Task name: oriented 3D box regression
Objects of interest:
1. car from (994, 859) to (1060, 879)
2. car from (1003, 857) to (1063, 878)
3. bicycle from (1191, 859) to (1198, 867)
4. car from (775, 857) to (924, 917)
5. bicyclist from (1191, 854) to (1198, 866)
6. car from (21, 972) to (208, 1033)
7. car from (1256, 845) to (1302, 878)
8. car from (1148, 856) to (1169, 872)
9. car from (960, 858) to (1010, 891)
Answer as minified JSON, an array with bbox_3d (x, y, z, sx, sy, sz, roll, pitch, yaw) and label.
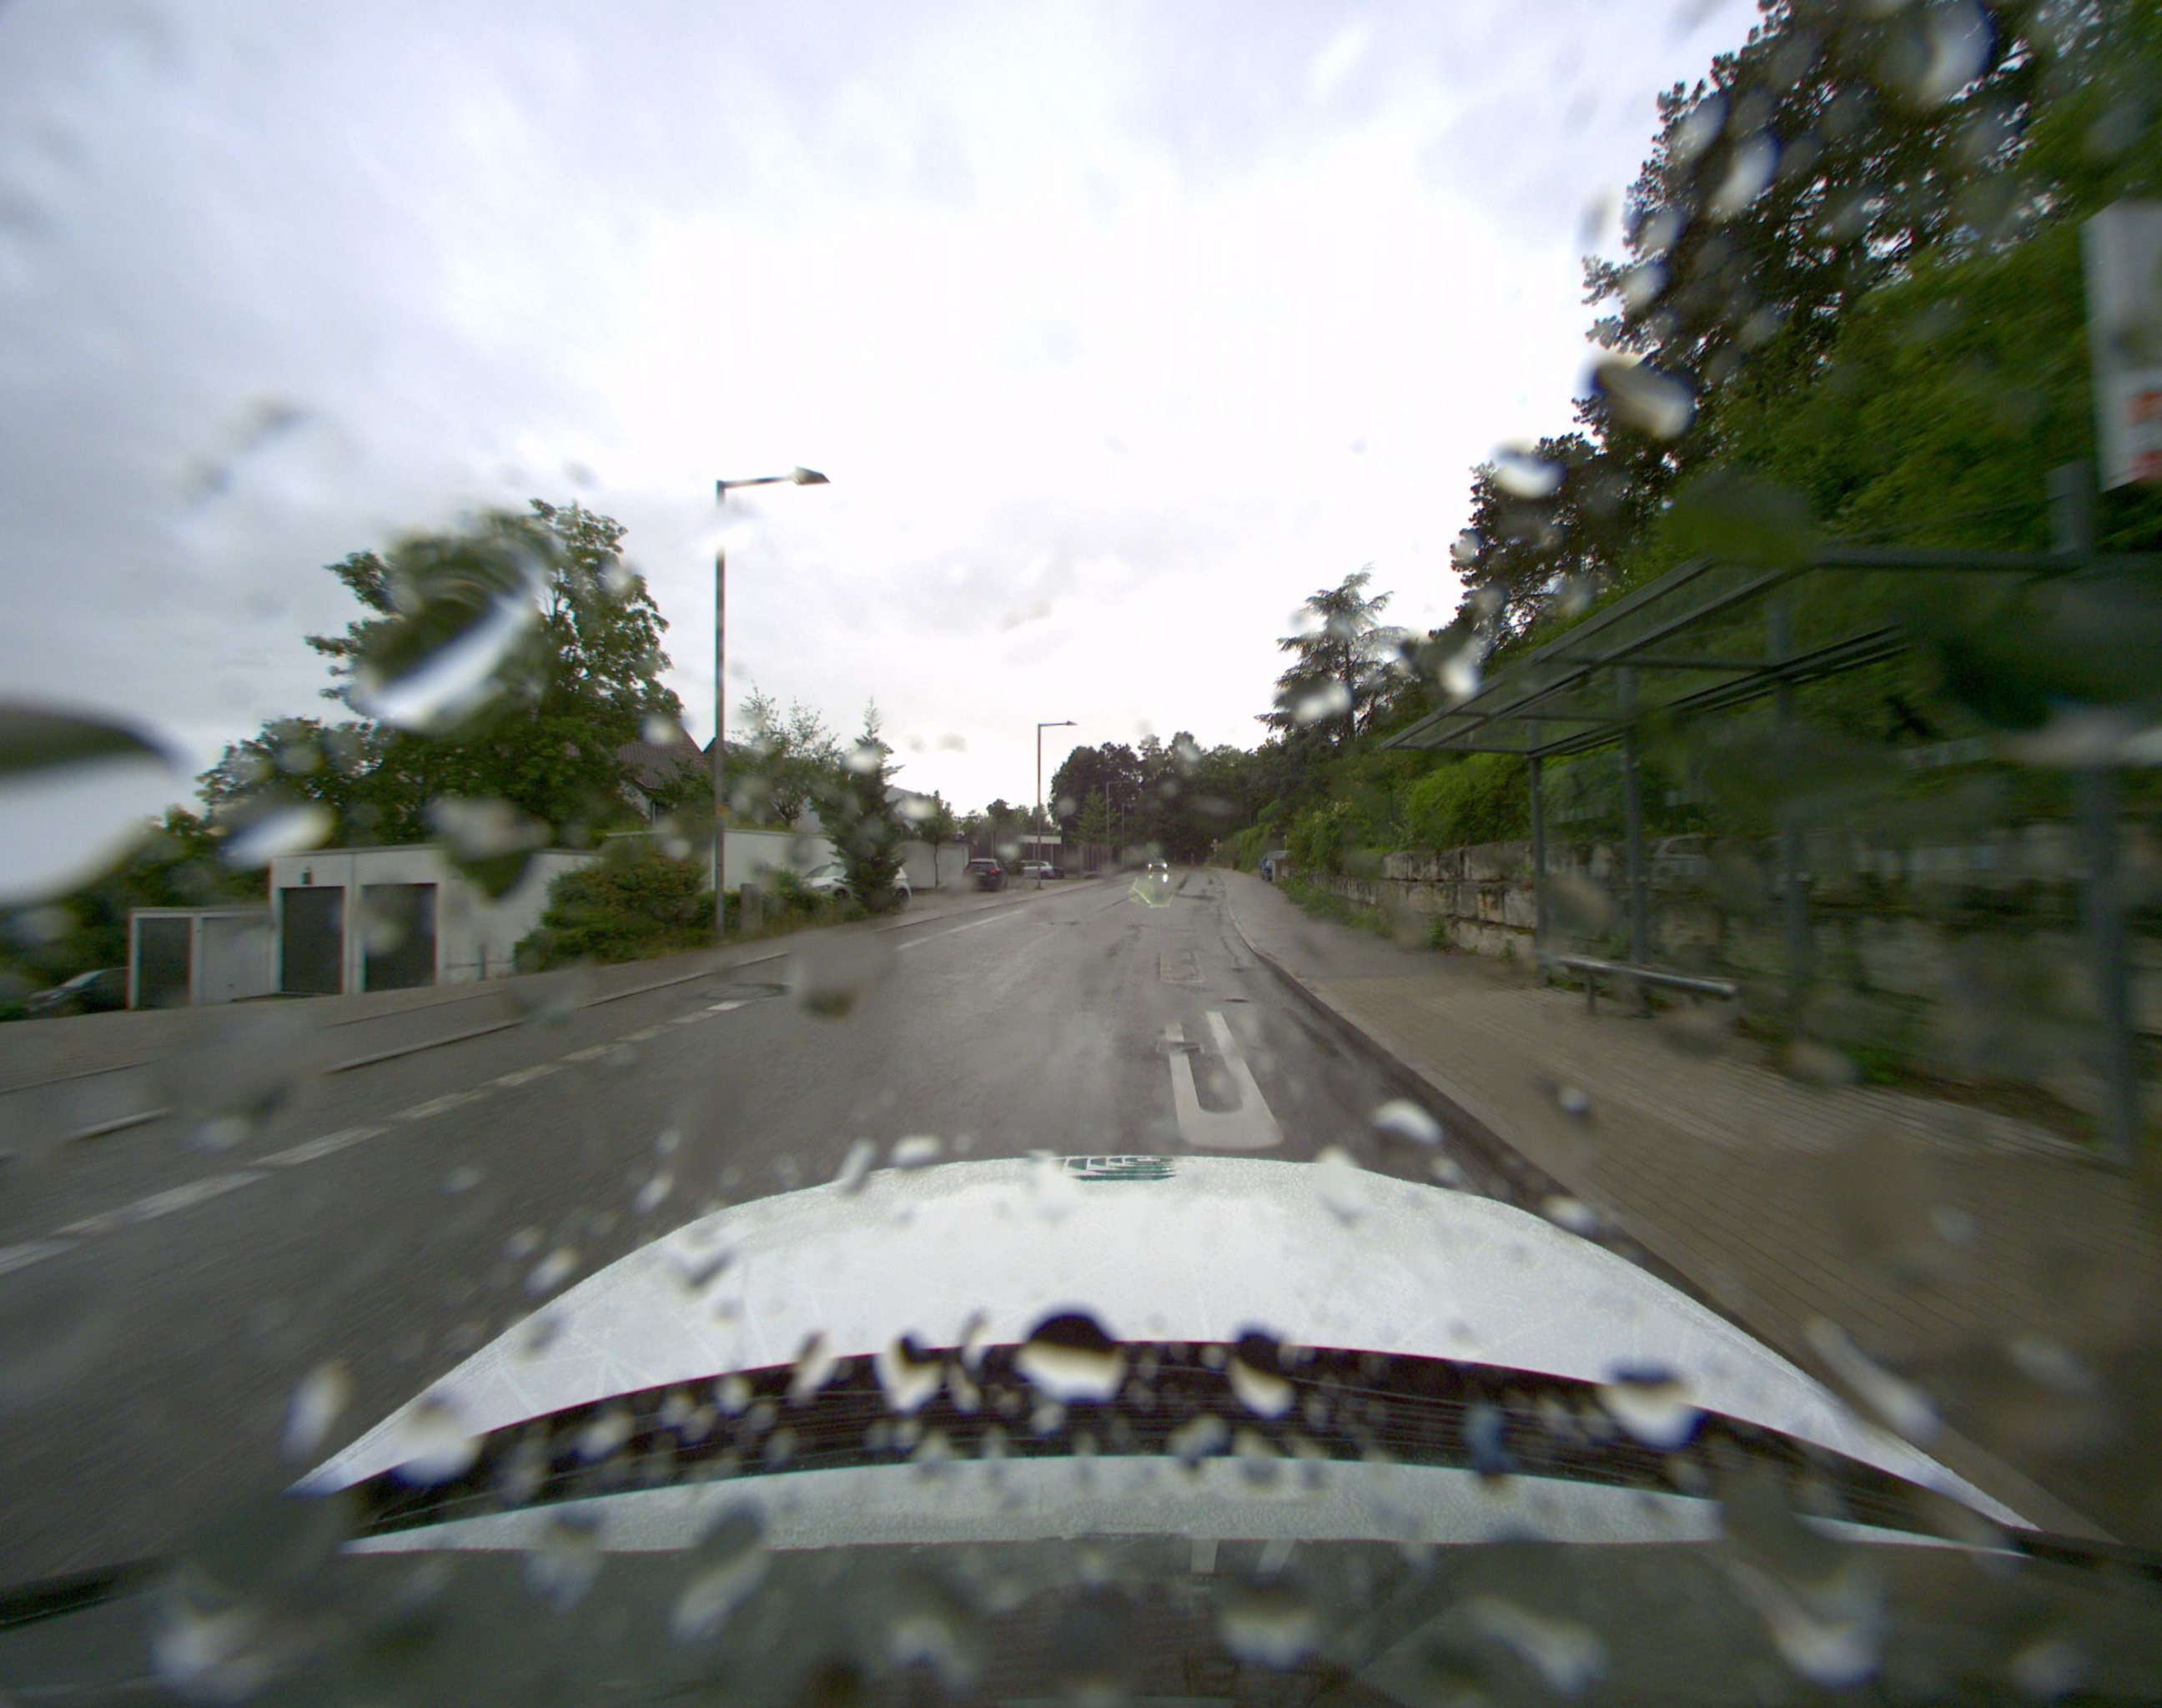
[{"bbox_3d":[-3.944,1.080,60.075,4.547,1.442,1.744,1,-1,-30],"label":"car"},{"bbox_3d":[-3.718,1.025,63.181,4.301,1.601,1.822,0,0,-26],"label":"car"},{"bbox_3d":[15.489,1.264,111.244,0.526,1.085,1.618,0,0,-5],"label":"bicycle"},{"bbox_3d":[-6.513,0.879,23.451,1.690,1.553,4.413,-1,0,23],"label":"car"},{"bbox_3d":[15.487,0.761,111.260,0.719,1.615,0.904,0,-1,-4],"label":"bicyclist"},{"bbox_3d":[-30.369,4.612,25.723,1.589,1.263,3.438,-1,0,16],"label":"car"},{"bbox_3d":[11.334,0.424,46.903,1.983,1.670,4.553,-4,-1,7],"label":"car"},{"bbox_3d":[7.692,0.985,80.468,1.840,1.469,3.709,0,0,9],"label":"car"},{"bbox_3d":[-4.405,0.921,37.868,1.828,1.405,4.259,0,0,0],"label":"car"}]
